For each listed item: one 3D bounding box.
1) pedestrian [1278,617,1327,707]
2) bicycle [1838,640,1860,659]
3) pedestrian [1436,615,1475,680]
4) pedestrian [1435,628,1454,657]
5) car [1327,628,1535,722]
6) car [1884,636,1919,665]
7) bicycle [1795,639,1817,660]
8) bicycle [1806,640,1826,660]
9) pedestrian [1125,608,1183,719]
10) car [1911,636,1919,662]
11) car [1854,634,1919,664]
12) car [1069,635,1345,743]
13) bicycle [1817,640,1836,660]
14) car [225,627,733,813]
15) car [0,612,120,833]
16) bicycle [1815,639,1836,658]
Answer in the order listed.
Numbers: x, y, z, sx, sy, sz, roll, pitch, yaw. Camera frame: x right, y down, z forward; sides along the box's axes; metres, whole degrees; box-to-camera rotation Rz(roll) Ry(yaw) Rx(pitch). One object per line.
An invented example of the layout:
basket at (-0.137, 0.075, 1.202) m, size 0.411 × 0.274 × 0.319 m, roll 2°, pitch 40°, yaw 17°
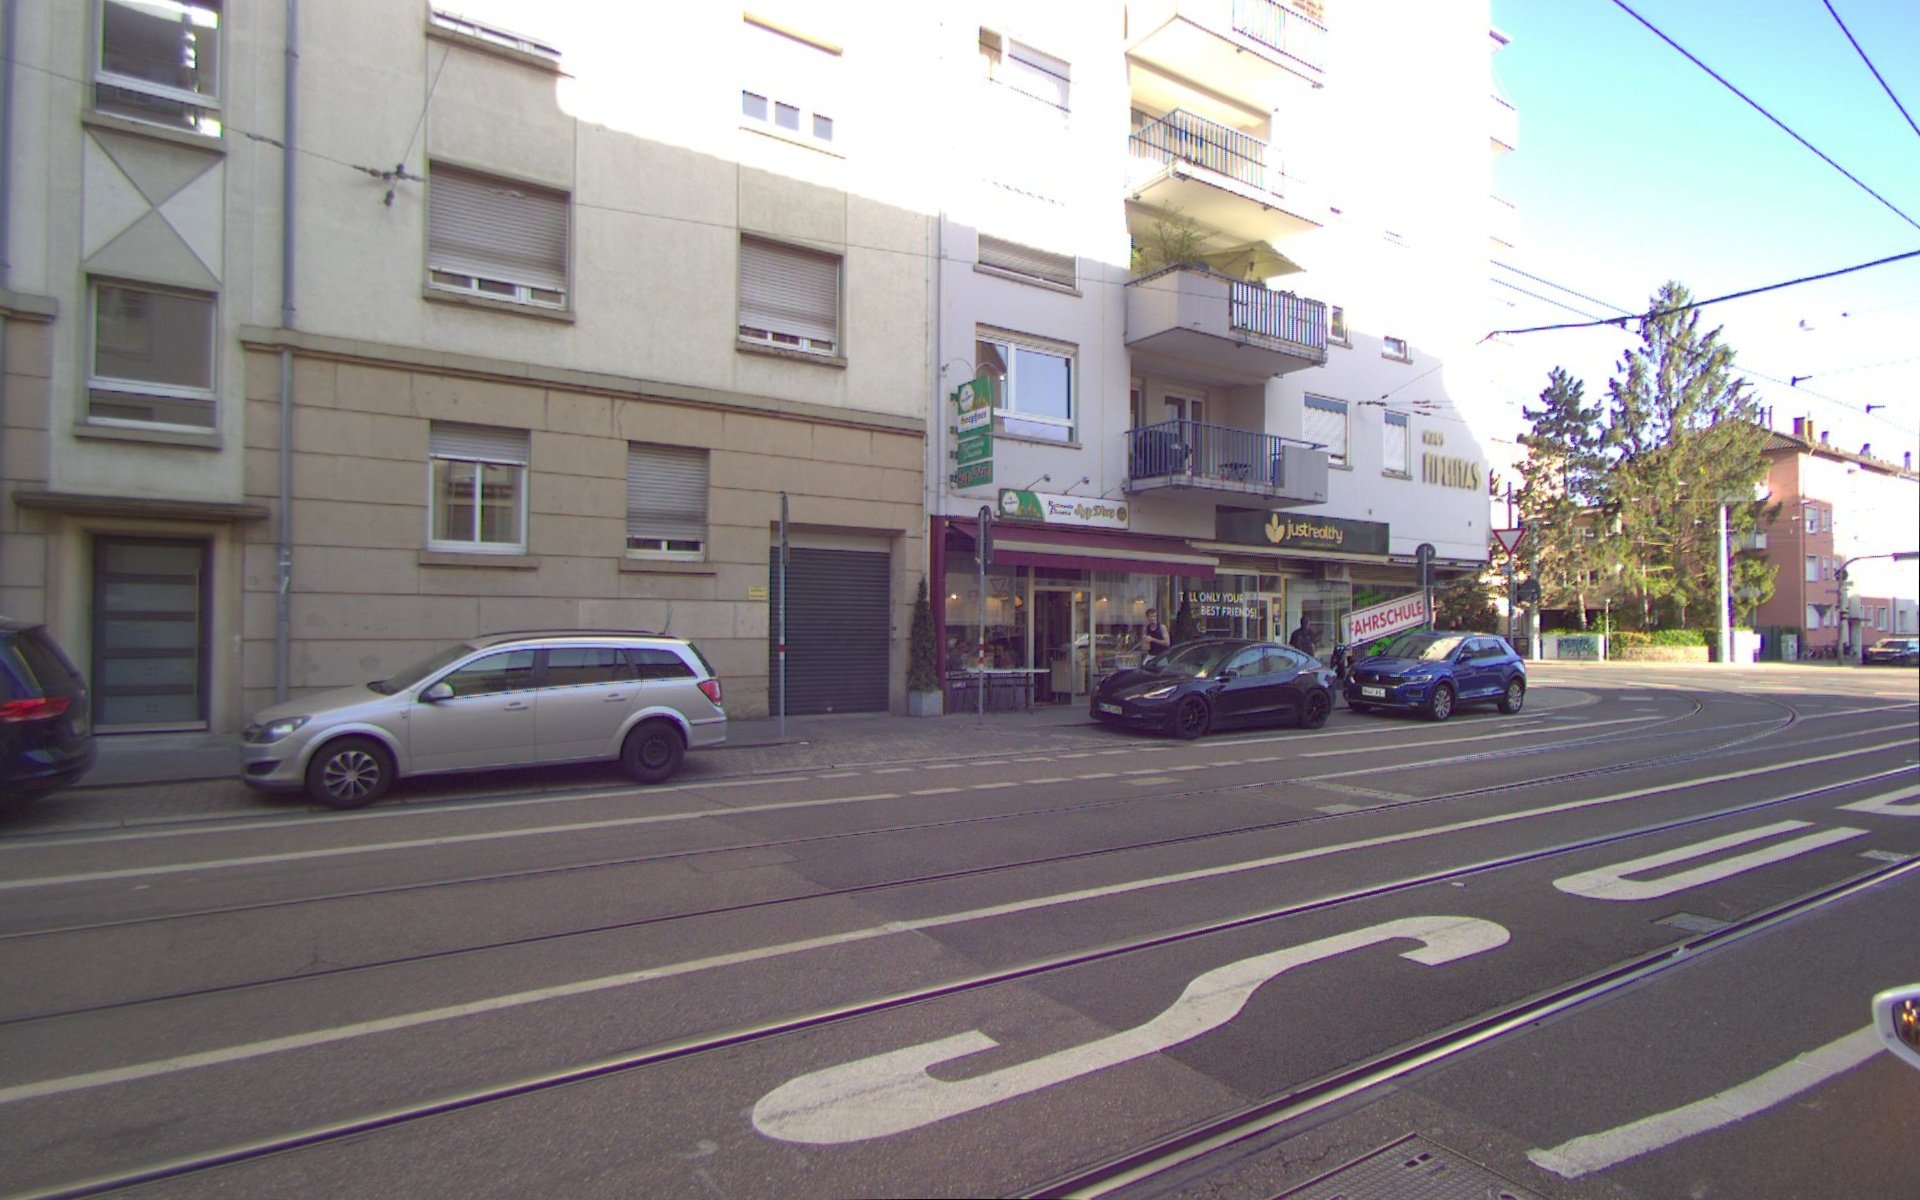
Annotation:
pedestrian at (6.720, 1.205, 19.711) m, size 0.722 × 1.731 × 0.600 m, roll 1°, pitch -2°, yaw -32°
bicycle at (53.157, 2.937, 60.029) m, size 1.892 × 1.097 × 0.605 m, roll 1°, pitch -2°, yaw -37°
pedestrian at (14.234, 1.360, 28.856) m, size 0.707 × 1.859 × 0.771 m, roll 0°, pitch -1°, yaw -3°
pedestrian at (29.595, 2.579, 61.420) m, size 0.672 × 1.725 × 0.805 m, roll 1°, pitch -2°, yaw -30°
car at (8.992, 1.346, 19.085) m, size 4.072 × 1.525 × 1.714 m, roll 1°, pitch 1°, yaw -34°
car at (54.273, 2.840, 57.016) m, size 4.006 × 1.539 × 1.938 m, roll 1°, pitch -2°, yaw -36°
bicycle at (46.883, 2.724, 55.635) m, size 1.895 × 1.097 × 0.634 m, roll 2°, pitch -2°, yaw -41°
bicycle at (47.178, 2.734, 55.343) m, size 1.895 × 1.097 × 0.532 m, roll 2°, pitch -2°, yaw -41°
pedestrian at (3.381, 1.096, 17.513) m, size 0.746 × 1.882 × 0.665 m, roll 1°, pitch -2°, yaw -33°
car at (58.127, 2.897, 59.455) m, size 3.961 × 1.539 × 1.938 m, roll 1°, pitch -2°, yaw -36°
car at (49.725, 2.616, 53.786) m, size 3.961 × 1.539 × 1.938 m, roll 1°, pitch -2°, yaw -36°
car at (4.013, 1.316, 16.043) m, size 4.442 × 1.422 × 1.714 m, roll 1°, pitch 1°, yaw -34°
bicycle at (47.606, 2.746, 55.168) m, size 1.895 × 1.097 × 0.532 m, roll 2°, pitch -2°, yaw -41°
car at (-4.706, 1.050, 10.214) m, size 4.343 × 1.497 × 1.785 m, roll 1°, pitch -1°, yaw -34°
car at (-8.993, 0.880, 7.192) m, size 4.343 × 1.620 × 1.785 m, roll 1°, pitch -1°, yaw -34°
bicycle at (50.741, 2.860, 58.884) m, size 1.892 × 1.097 × 0.533 m, roll 1°, pitch -2°, yaw -37°
